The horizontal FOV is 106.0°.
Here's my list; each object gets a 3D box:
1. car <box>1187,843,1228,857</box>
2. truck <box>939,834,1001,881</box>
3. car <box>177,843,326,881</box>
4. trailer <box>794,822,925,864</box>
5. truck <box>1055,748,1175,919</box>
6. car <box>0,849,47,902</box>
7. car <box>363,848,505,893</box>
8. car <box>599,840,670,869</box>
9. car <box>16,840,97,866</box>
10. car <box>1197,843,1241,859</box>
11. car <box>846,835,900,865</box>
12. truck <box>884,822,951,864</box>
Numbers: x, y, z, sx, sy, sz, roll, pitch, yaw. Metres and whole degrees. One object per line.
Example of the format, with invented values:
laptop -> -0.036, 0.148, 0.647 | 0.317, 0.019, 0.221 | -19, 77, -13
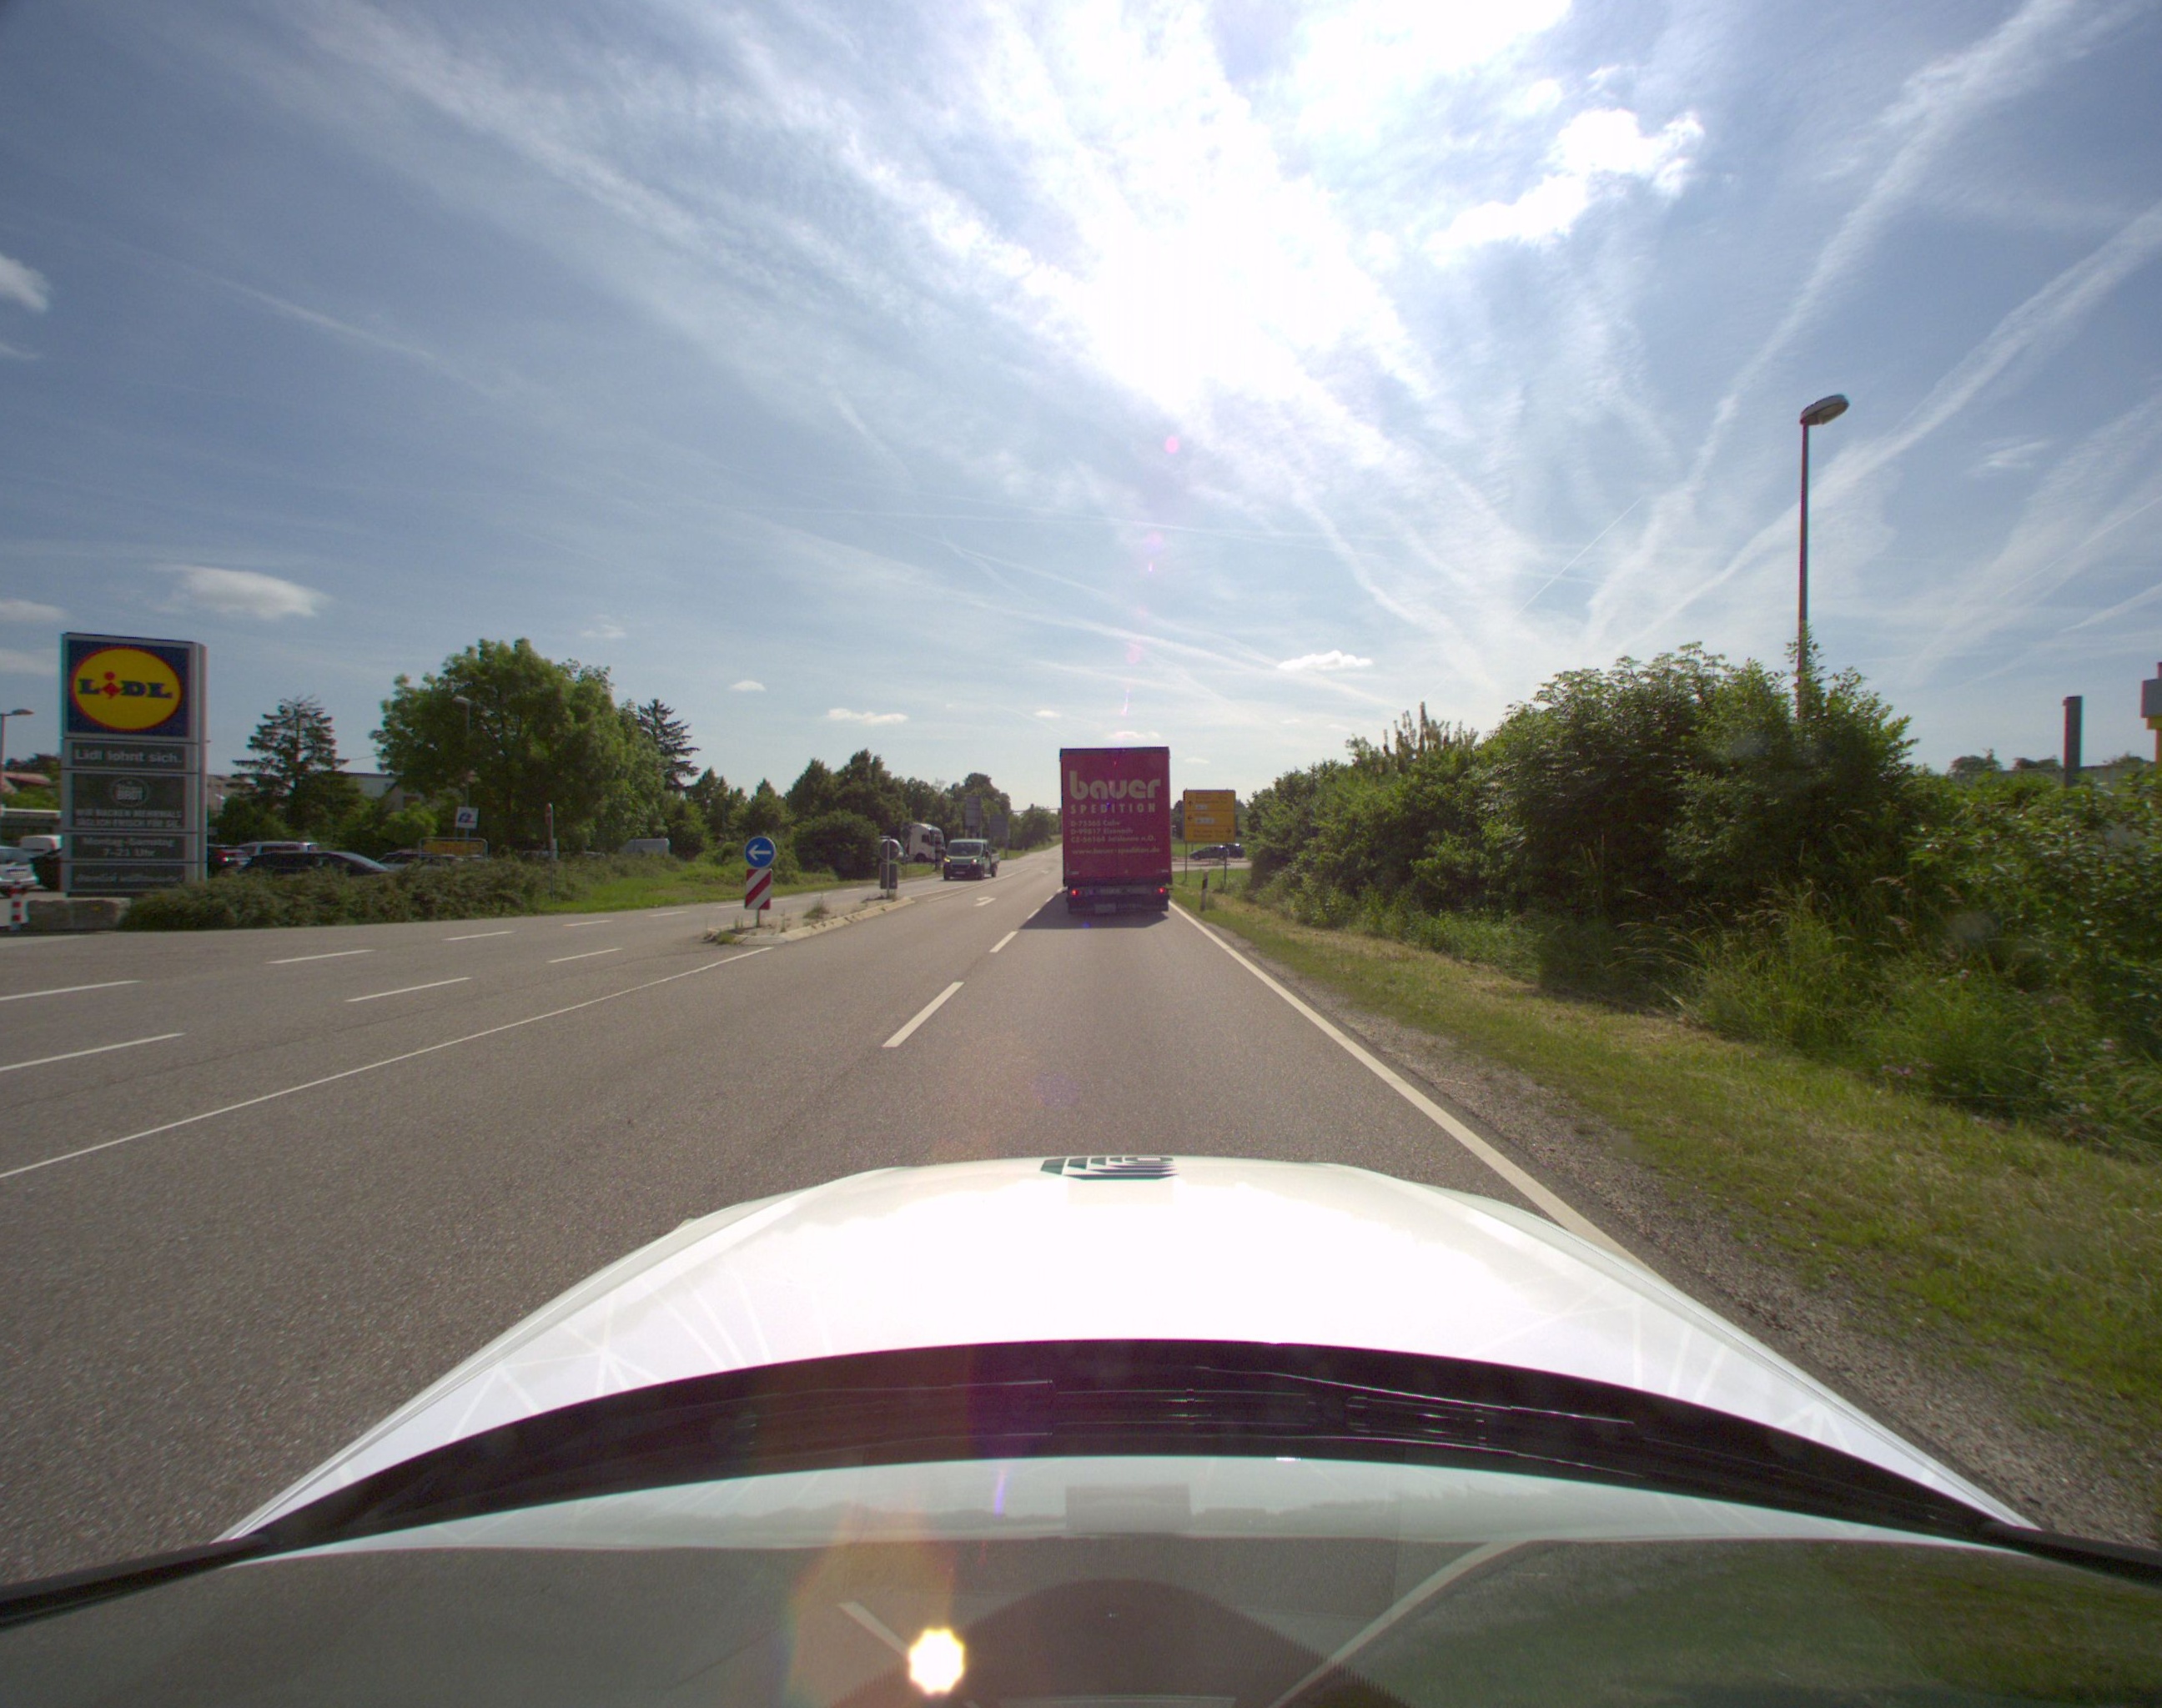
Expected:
car -> 12.882, -0.385, 82.876 | 3.958, 1.429, 2.008 | 0, 0, 14
truck -> -6.038, 0.168, 45.244 | 2.232, 2.375, 6.355 | 0, 0, 3
car -> -38.467, 0.350, 37.931 | 4.435, 1.695, 1.984 | 0, 0, -25
trailer -> -22.576, -1.086, 82.744 | 13.570, 4.061, 2.812 | 0, 1, 19
truck -> 0.925, -0.563, 27.131 | 2.725, 3.925, 16.628 | -1, 1, 1
car -> -33.462, 0.601, 23.474 | 4.148, 1.502, 1.771 | 1, 0, -21
car -> -25.345, 0.630, 32.045 | 3.997, 1.657, 1.684 | 0, -1, -18
car -> -34.564, 0.022, 63.194 | 4.601, 2.180, 1.986 | 0, 0, -22
car -> -72.244, -0.026, 57.510 | 1.900, 1.759, 3.969 | 0, -1, -23
car -> 14.801, -0.275, 87.418 | 4.232, 1.656, 1.710 | -1, -1, 31
car -> -19.230, -0.333, 75.178 | 2.136, 2.654, 5.912 | 1, -1, -44
truck -> -16.125, -1.081, 80.427 | 5.776, 4.061, 2.813 | 0, 1, 21
